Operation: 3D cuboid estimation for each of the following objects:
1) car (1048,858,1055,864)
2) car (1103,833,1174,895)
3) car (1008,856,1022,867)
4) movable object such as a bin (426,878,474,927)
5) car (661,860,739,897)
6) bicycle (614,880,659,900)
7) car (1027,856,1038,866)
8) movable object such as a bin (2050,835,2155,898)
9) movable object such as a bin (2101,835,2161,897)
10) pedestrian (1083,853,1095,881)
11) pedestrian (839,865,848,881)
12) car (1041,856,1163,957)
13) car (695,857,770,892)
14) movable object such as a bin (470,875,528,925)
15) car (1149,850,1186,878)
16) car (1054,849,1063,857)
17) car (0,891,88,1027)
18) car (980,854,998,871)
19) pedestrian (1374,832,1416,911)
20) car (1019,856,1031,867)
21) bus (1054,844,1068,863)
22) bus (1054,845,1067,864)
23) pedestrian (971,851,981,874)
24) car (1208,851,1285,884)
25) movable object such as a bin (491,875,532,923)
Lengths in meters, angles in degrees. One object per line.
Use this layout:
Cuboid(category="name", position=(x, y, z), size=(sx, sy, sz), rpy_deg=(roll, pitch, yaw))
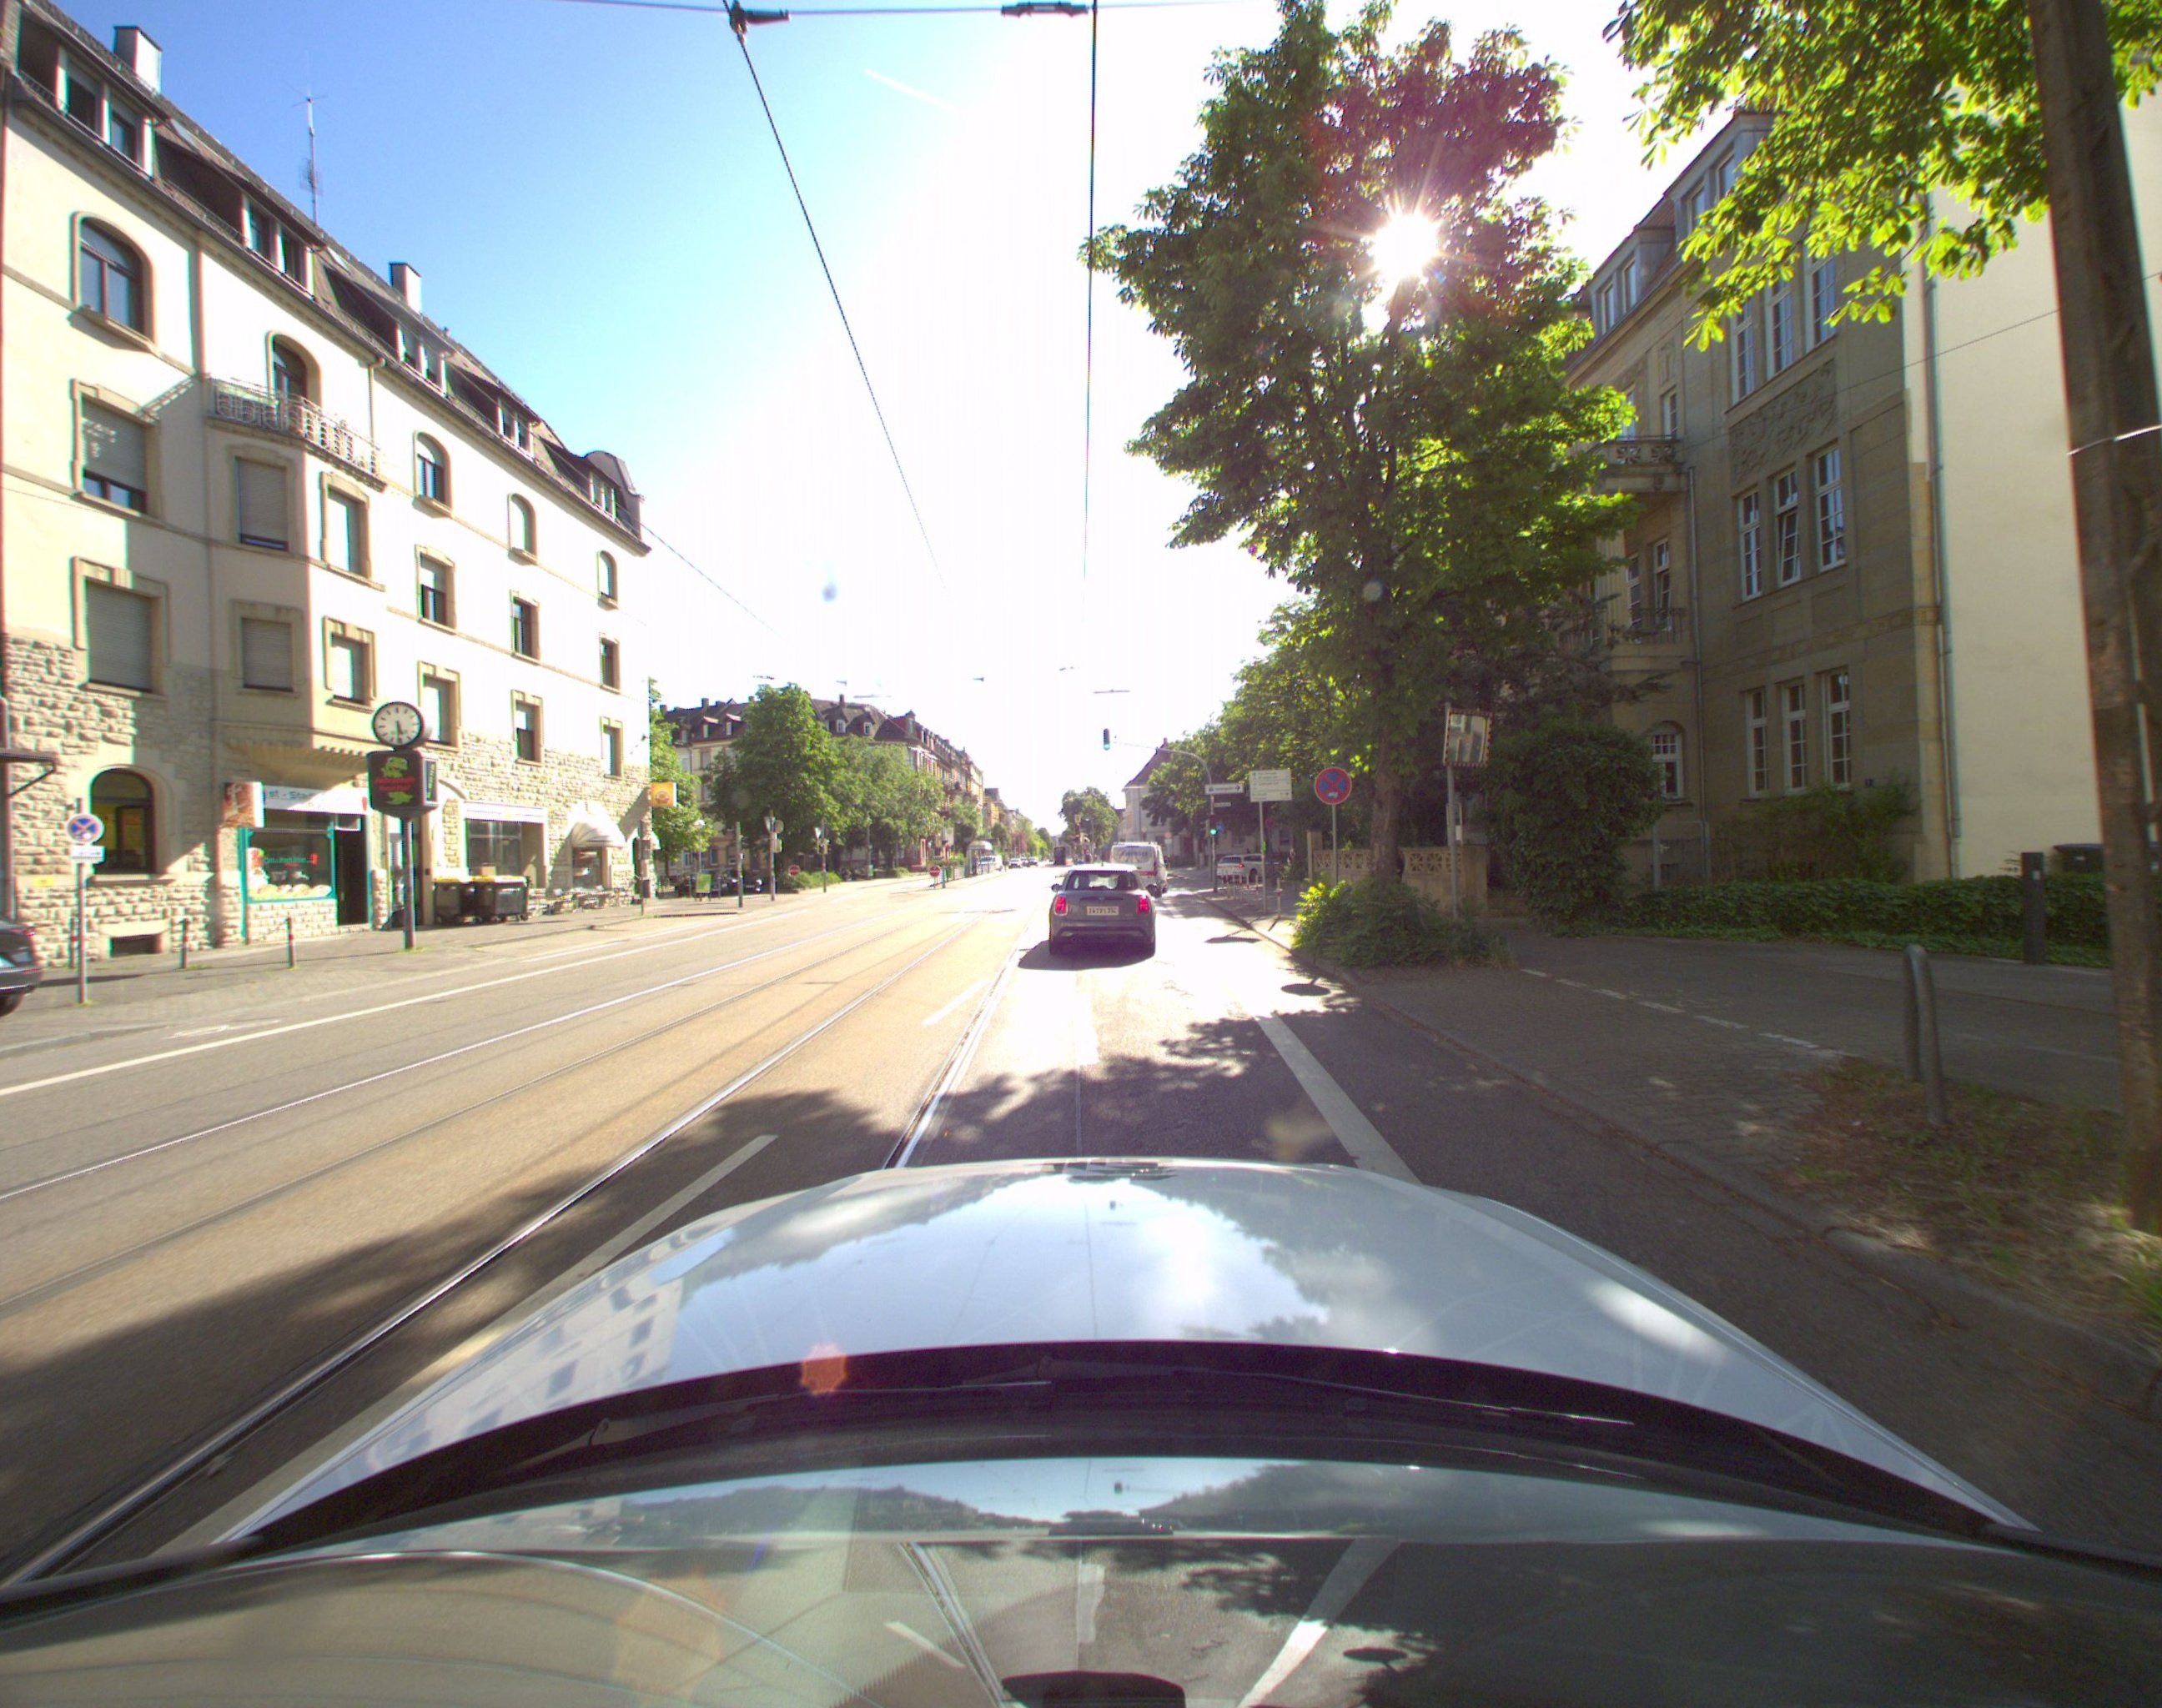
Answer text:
Cuboid(category="car", position=(-8.986, 2.198, 250.505), size=(1.986, 1.596, 4.001), rpy_deg=(-1, -1, 2))
Cuboid(category="car", position=(2.353, 0.389, 31.801), size=(2.105, 2.208, 4.959), rpy_deg=(-1, -1, 11))
Cuboid(category="car", position=(-9.378, 1.077, 116.192), size=(1.771, 1.618, 3.996), rpy_deg=(-1, -1, -2))
Cuboid(category="movable object such as a bin", position=(-17.537, 1.344, 22.643), size=(0.849, 1.325, 0.659), rpy_deg=(-1, -1, 12))
Cuboid(category="car", position=(-21.272, 1.360, 45.501), size=(3.949, 2.014, 2.012), rpy_deg=(-1, -1, 29))
Cuboid(category="bicycle", position=(-24.033, 1.945, 44.066), size=(0.602, 0.980, 2.051), rpy_deg=(-2, -1, 38))
Cuboid(category="car", position=(-8.299, 1.152, 139.709), size=(1.771, 1.618, 3.996), rpy_deg=(-1, -1, -2))
Cuboid(category="movable object such as a bin", position=(16.120, 0.190, 12.871), size=(0.831, 0.955, 0.648), rpy_deg=(-1, -1, 0))
Cuboid(category="movable object such as a bin", position=(16.985, 0.176, 12.892), size=(0.831, 0.955, 0.648), rpy_deg=(-1, -1, 0))
Cuboid(category="pedestrian", position=(0.588, 0.930, 57.876), size=(0.793, 2.014, 0.740), rpy_deg=(-1, -1, -1))
Cuboid(category="pedestrian", position=(-18.349, 1.499, 62.809), size=(0.579, 1.201, 0.604), rpy_deg=(-3, 0, -20))
Cuboid(category="car", position=(0.355, 0.809, 14.262), size=(1.809, 1.488, 4.001), rpy_deg=(-1, -1, 1))
Cuboid(category="car", position=(-20.428, 1.198, 47.673), size=(3.949, 2.014, 2.012), rpy_deg=(-1, -1, 29))
Cuboid(category="movable object such as a bin", position=(-16.767, 1.305, 23.476), size=(0.849, 1.381, 1.031), rpy_deg=(-1, -1, 12))
Cuboid(category="car", position=(5.428, 0.622, 51.421), size=(1.986, 1.706, 4.001), rpy_deg=(-1, -1, 1))
Cuboid(category="car", position=(-5.054, -0.230, 184.223), size=(1.859, 1.563, 3.996), rpy_deg=(-1, -1, -2))
Cuboid(category="car", position=(-14.159, 1.166, 8.925), size=(3.982, 1.503, 1.768), rpy_deg=(1, -1, -6))
Cuboid(category="car", position=(-11.036, 0.997, 97.863), size=(1.991, 2.014, 5.019), rpy_deg=(-1, -1, -6))
Cuboid(category="pedestrian", position=(6.969, 0.385, 18.088), size=(0.590, 1.671, 0.647), rpy_deg=(-3, -1, 1))
Cuboid(category="car", position=(-8.615, 1.109, 125.244), size=(1.771, 1.618, 3.996), rpy_deg=(-1, -1, -2))
Cuboid(category="bus", position=(-3.672, -0.086, 151.327), size=(2.380, 3.496, 7.375), rpy_deg=(-1, -1, -3))
Cuboid(category="bus", position=(-4.052, 0.124, 158.707), size=(2.380, 3.496, 7.375), rpy_deg=(-1, -1, -3))
Cuboid(category="pedestrian", position=(-8.053, 0.658, 62.491), size=(0.579, 1.795, 0.604), rpy_deg=(-2, 0, -17))
Cuboid(category="car", position=(8.613, 0.681, 42.222), size=(1.975, 1.618, 4.023), rpy_deg=(-2, -1, 45))
Cuboid(category="movable object such as a bin", position=(-17.113, 1.327, 24.466), size=(0.862, 1.381, 1.015), rpy_deg=(0, -1, -45))
